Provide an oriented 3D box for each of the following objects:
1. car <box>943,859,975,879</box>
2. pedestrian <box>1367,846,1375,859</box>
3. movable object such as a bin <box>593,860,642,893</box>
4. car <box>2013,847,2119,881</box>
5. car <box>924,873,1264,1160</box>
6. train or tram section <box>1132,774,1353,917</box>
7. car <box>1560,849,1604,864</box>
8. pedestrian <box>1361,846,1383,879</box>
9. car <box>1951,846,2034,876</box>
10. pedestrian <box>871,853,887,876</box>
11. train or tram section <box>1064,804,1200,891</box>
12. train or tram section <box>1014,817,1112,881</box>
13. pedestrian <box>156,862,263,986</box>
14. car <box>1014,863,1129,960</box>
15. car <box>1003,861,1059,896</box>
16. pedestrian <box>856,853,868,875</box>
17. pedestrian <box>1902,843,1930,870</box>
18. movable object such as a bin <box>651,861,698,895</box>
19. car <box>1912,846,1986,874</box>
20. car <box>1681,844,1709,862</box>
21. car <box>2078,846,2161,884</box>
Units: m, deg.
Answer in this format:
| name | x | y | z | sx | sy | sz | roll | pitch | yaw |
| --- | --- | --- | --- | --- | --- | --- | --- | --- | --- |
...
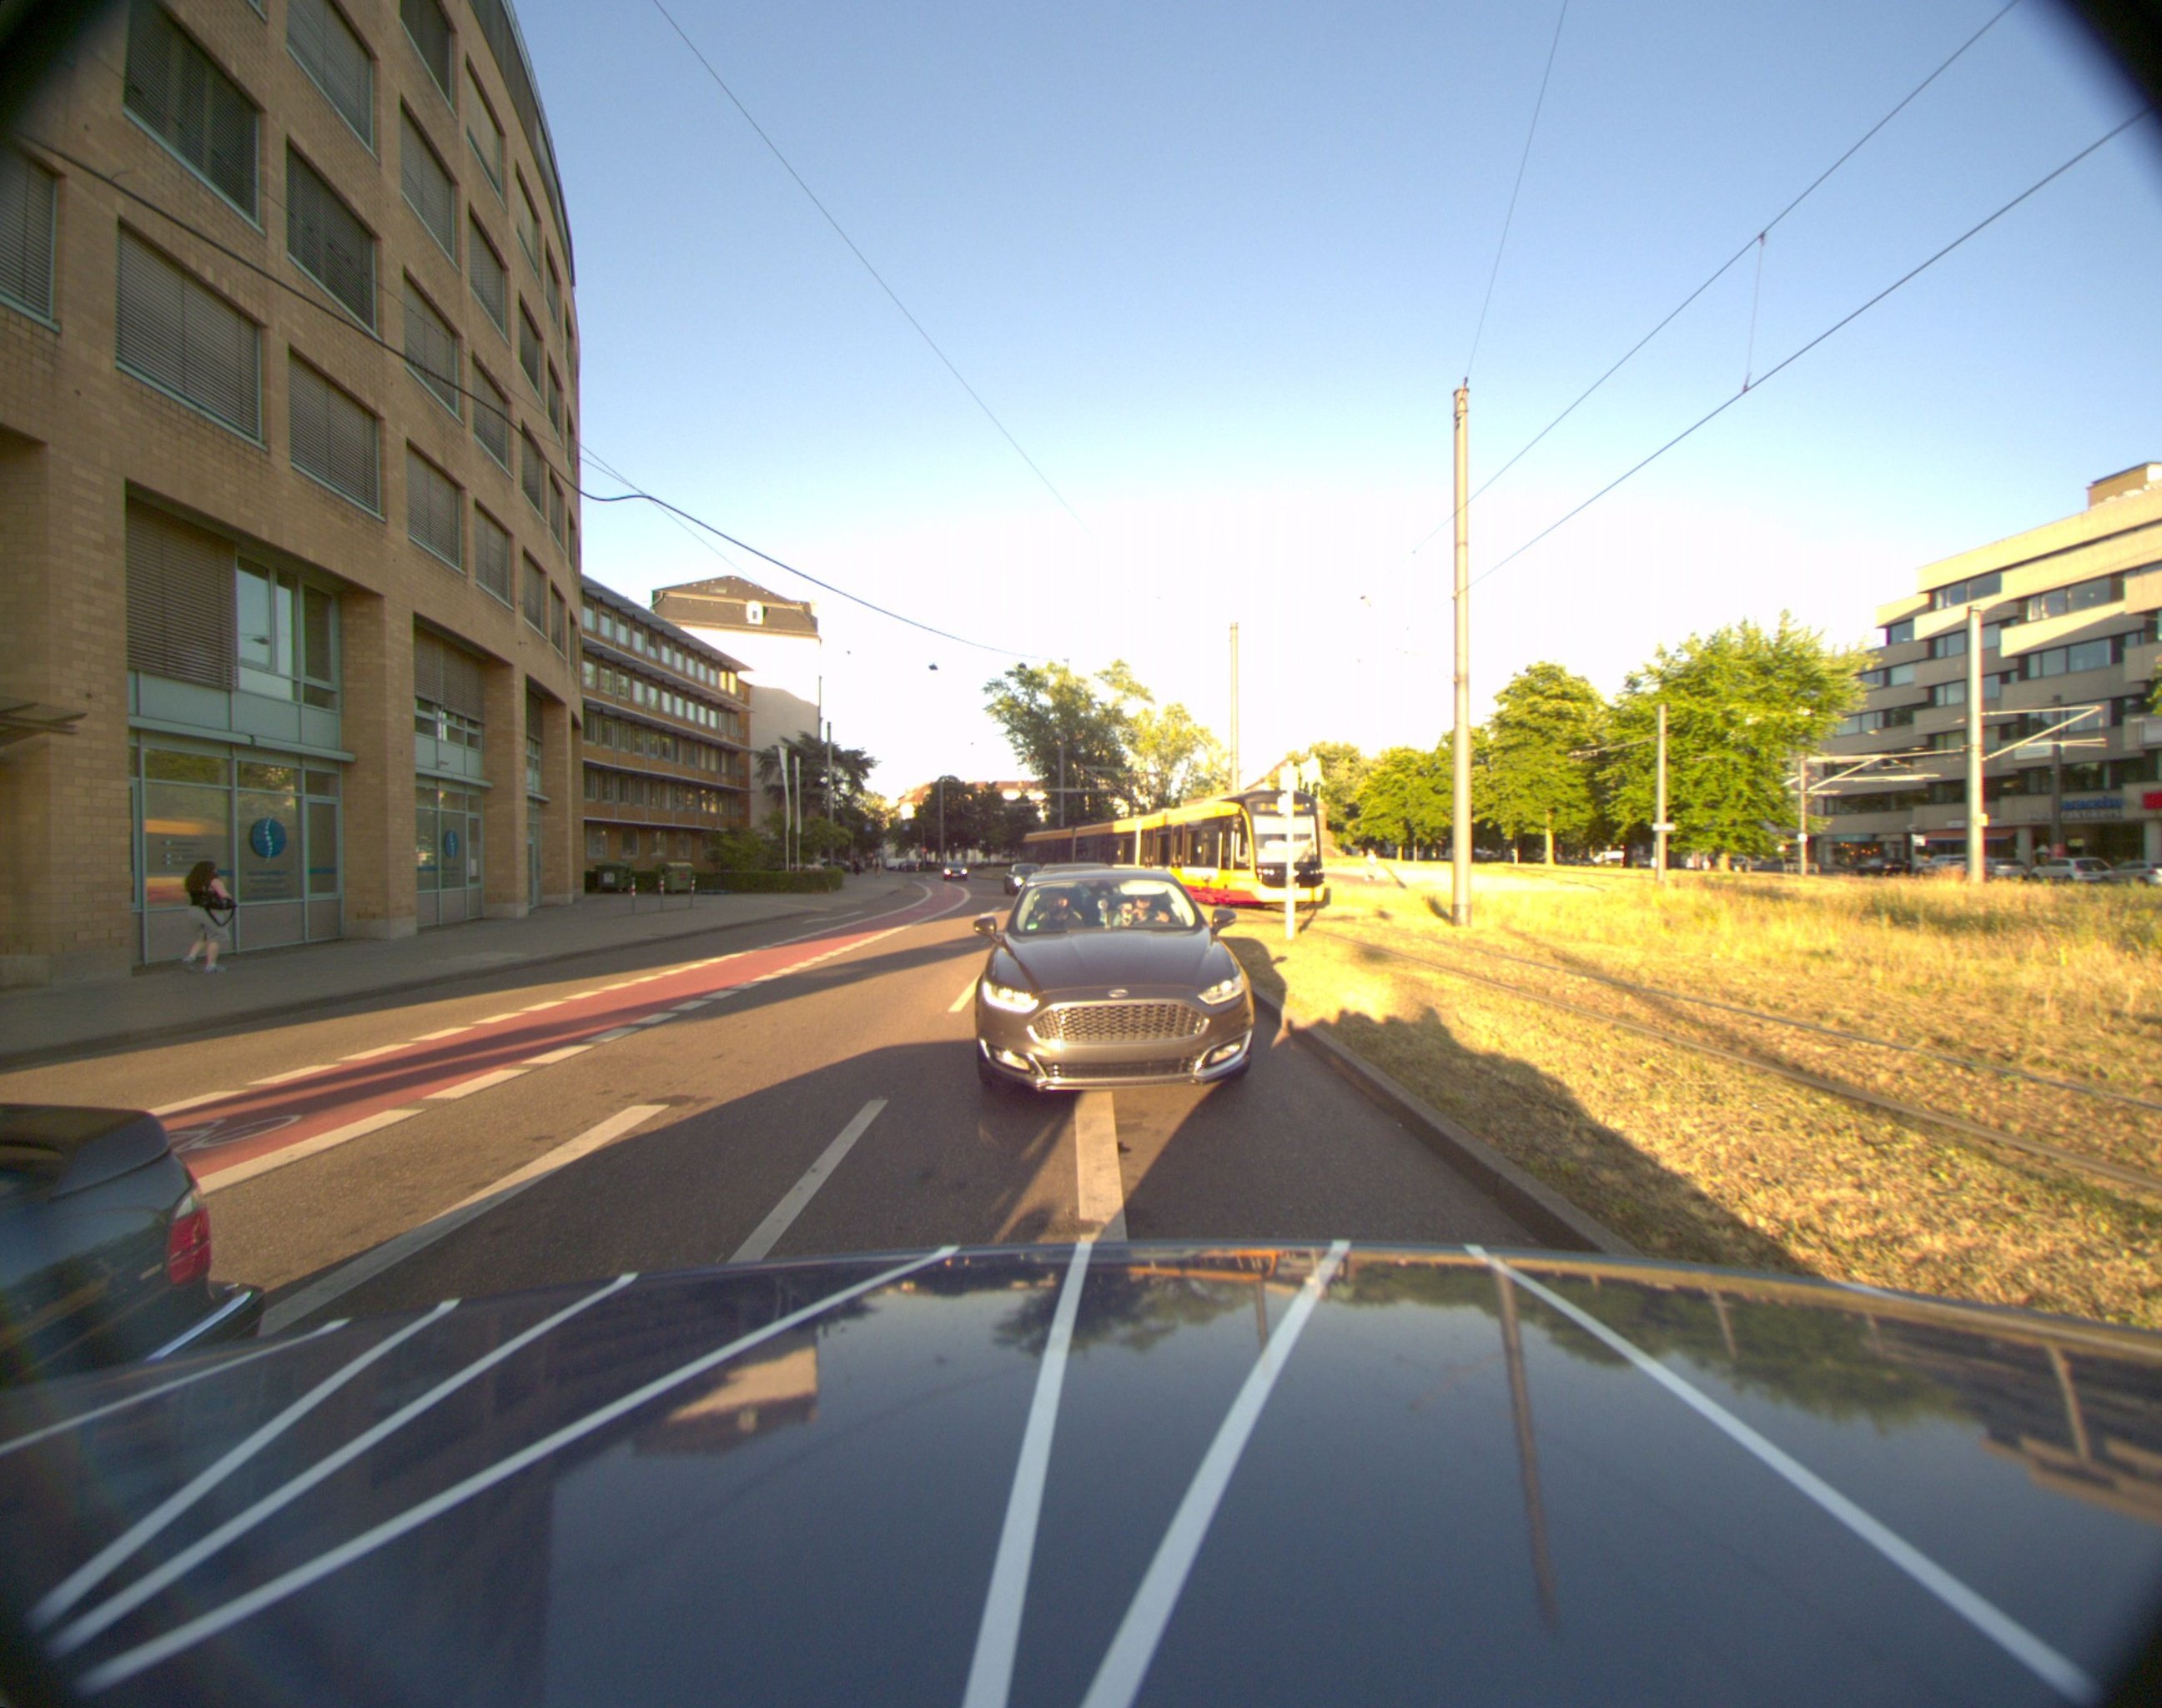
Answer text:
| name | x | y | z | sx | sy | sz | roll | pitch | yaw |
| --- | --- | --- | --- | --- | --- | --- | --- | --- | --- |
| car | -9.224 | 1.107 | 57.863 | 1.759 | 1.379 | 3.999 | -2 | 0 | -1 |
| pedestrian | 35.380 | -0.194 | 92.823 | 0.711 | 1.660 | 0.635 | -1 | 1 | 1 |
| movable object such as a bin | -21.193 | 1.028 | 34.752 | 1.427 | 1.450 | 1.332 | -1 | 0 | -2 |
| car | 56.288 | 0.557 | 43.549 | 1.995 | 1.868 | 4.006 | -1 | 0 | 22 |
| car | 0.112 | 0.973 | 6.607 | 1.890 | 1.477 | 4.725 | 0 | 0 | 1 |
| train or tram section | 4.718 | -0.250 | 26.472 | 2.918 | 3.717 | 13.206 | -1 | 0 | -9 |
| car | 60.743 | 0.283 | 92.201 | 3.992 | 1.745 | 1.970 | -1 | 0 | 16 |
| pedestrian | 15.720 | 0.452 | 41.026 | 0.891 | 1.718 | 0.797 | -1 | 1 | 1 |
| car | 58.821 | 0.433 | 49.148 | 1.995 | 1.868 | 4.007 | 0 | 0 | 27 |
| pedestrian | -16.790 | 0.903 | 63.154 | 0.913 | 1.883 | 1.123 | -1 | 1 | -30 |
| train or tram section | 2.109 | -0.306 | 38.626 | 2.889 | 3.717 | 12.166 | -1 | 0 | -16 |
| train or tram section | -1.550 | -0.306 | 50.491 | 2.917 | 3.717 | 12.171 | -1 | 0 | -19 |
| pedestrian | -12.171 | 0.951 | 10.635 | 0.628 | 1.672 | 0.713 | -1 | 1 | -3 |
| car | -0.110 | 0.983 | 14.971 | 1.897 | 1.526 | 4.705 | -1 | 0 | 1 |
| car | -2.378 | 1.078 | 35.175 | 2.001 | 1.453 | 4.138 | -1 | 0 | -13 |
| pedestrian | -18.044 | 0.806 | 62.700 | 0.728 | 1.797 | 0.724 | -1 | 1 | 1 |
| pedestrian | 64.913 | 0.185 | 59.074 | 1.138 | 2.023 | 0.892 | -1 | 1 | 3 |
| movable object such as a bin | -18.276 | 1.056 | 34.185 | 1.427 | 1.450 | 1.332 | -1 | 0 | -3 |
| car | 61.324 | 0.380 | 53.780 | 1.995 | 1.925 | 4.007 | -1 | 0 | 24 |
| car | 72.074 | -0.155 | 89.264 | 1.995 | 2.002 | 4.007 | -2 | 1 | 32 |
| car | 54.114 | 0.532 | 38.928 | 1.921 | 1.853 | 4.006 | -1 | 0 | 23 |
